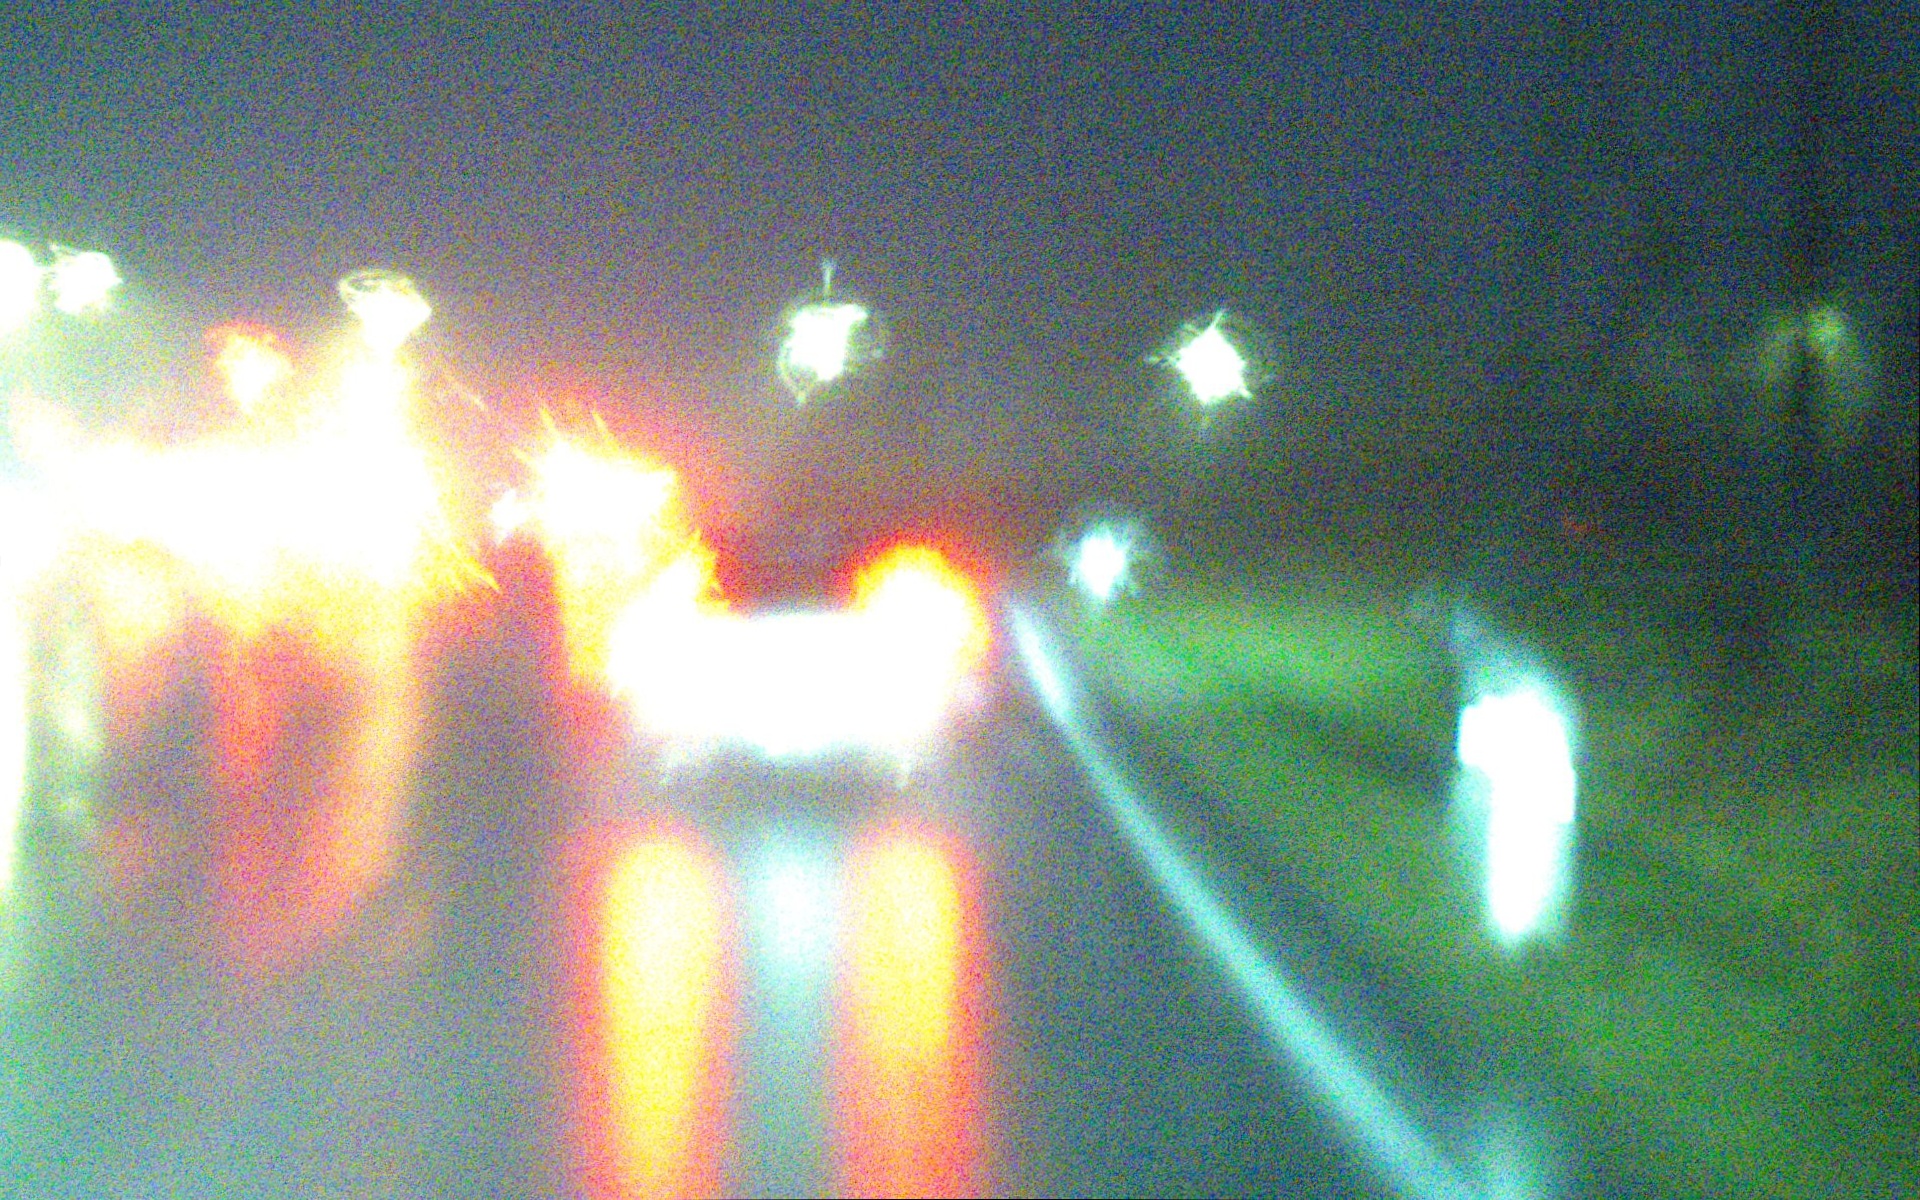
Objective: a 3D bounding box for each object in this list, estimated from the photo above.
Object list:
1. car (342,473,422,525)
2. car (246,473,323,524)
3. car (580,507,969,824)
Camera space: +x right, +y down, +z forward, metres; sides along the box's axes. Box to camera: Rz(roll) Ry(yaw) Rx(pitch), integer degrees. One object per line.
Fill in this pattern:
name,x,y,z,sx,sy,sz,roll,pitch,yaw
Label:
car,-19.974,-3.508,118.637,1.993,1.622,4.986,-3,3,-18
car,-23.285,-3.522,118.418,1.993,1.622,4.986,-3,3,-18
car,-1.022,0.298,20.200,1.993,1.622,4.985,0,1,-2
